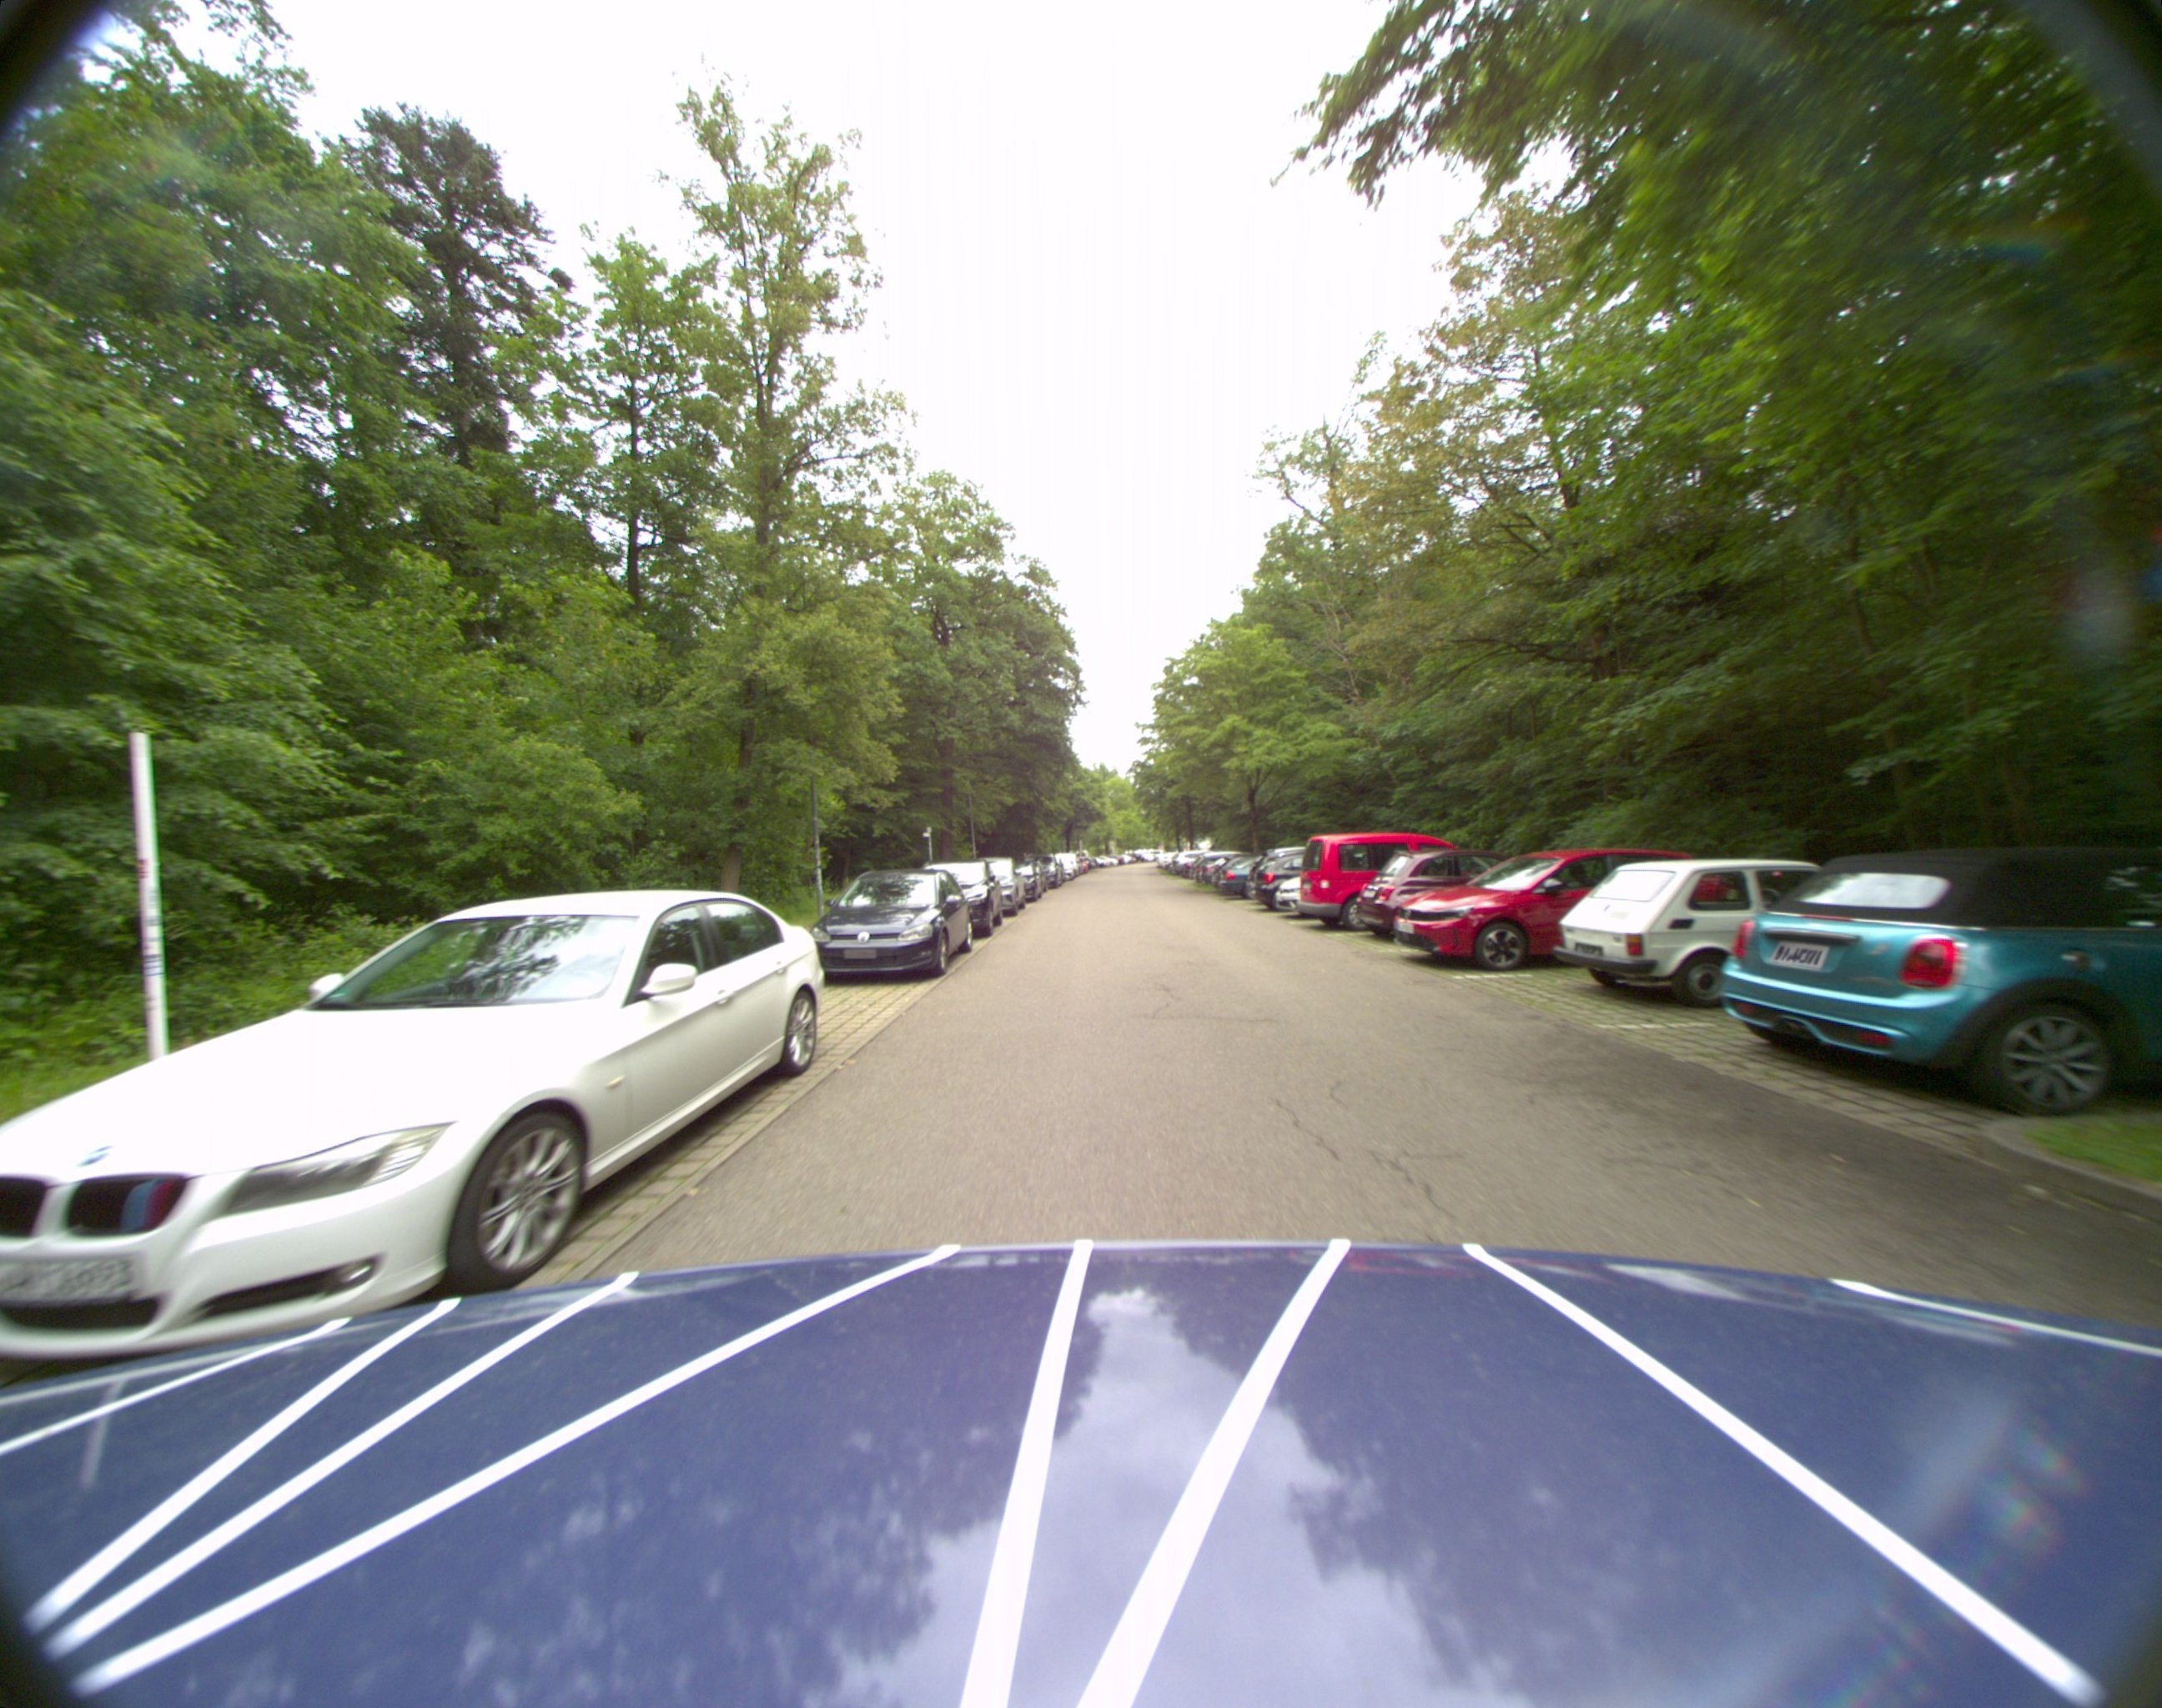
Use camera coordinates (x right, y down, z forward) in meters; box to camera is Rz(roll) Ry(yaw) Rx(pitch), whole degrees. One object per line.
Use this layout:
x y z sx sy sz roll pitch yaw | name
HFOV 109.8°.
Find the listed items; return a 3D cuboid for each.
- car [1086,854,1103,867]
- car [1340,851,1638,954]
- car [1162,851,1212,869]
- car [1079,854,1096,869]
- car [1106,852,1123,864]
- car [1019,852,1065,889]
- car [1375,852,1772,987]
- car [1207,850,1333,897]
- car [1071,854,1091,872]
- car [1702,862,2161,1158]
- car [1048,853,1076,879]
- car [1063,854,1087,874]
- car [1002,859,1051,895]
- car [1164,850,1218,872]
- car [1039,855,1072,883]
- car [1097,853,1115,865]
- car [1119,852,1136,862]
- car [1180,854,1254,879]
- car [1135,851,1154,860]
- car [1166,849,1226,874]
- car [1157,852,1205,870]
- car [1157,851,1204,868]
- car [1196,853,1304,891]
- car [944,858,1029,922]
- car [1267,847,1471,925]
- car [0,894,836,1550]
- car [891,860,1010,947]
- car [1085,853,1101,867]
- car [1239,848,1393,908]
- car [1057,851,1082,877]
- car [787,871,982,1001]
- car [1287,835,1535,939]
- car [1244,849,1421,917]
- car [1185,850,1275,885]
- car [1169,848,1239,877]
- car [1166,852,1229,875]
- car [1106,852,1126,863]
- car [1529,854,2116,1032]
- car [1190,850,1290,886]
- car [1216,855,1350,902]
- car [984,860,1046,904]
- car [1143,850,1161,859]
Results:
1.597 0.747 88.409 1.501 1.470 3.668 -2 0 8 | car
6.679 0.763 12.782 3.996 1.507 1.818 -2 0 1 | car
9.006 0.526 65.013 3.998 1.469 1.713 -1 0 -2 | car
0.680 0.736 77.819 1.502 1.470 3.667 -2 0 4 | car
4.356 0.504 99.012 1.501 1.470 3.669 -2 1 13 | car
-1.924 0.809 38.910 1.909 1.713 4.486 -2 0 1 | car
6.191 0.777 9.914 3.996 1.507 1.771 -2 0 1 | car
6.723 0.680 27.278 3.997 1.433 1.741 -3 1 -1 | car
0.004 0.752 66.230 1.502 1.470 3.666 -2 0 3 | car
6.514 0.799 4.623 3.996 1.440 1.696 -1 0 4 | car
-1.213 0.761 50.321 1.580 1.610 3.962 -2 0 1 | car
-0.438 0.798 62.043 1.642 1.561 3.666 -2 0 3 | car
-2.367 0.992 34.119 1.750 1.418 4.189 -2 0 1 | car
8.654 0.525 59.880 3.998 1.661 1.713 -1 0 -2 | car
-1.466 0.868 45.187 1.705 1.529 3.962 -2 0 1 | car
3.149 0.617 94.591 1.501 1.331 3.436 -2 0 13 | car
6.906 0.472 112.456 1.771 1.308 3.893 -2 1 14 | car
7.982 0.725 44.744 3.998 1.363 1.713 -1 0 -4 | car
10.366 0.211 123.062 1.769 1.308 3.896 -2 0 25 | car
8.268 0.532 54.963 3.998 1.699 1.713 -1 0 -2 | car
8.839 0.586 67.294 3.998 1.469 1.713 -1 0 -2 | car
9.028 0.530 69.211 3.998 1.469 1.713 -1 0 -2 | car
7.110 0.734 32.287 4.220 1.447 1.818 -2 0 5 | car
-2.649 0.963 22.316 1.907 1.577 4.481 -2 0 0 | car
6.479 0.703 17.439 3.996 1.588 1.742 -2 0 3 | car
-2.935 1.073 4.131 1.741 1.398 4.427 -2 0 0 | car
-2.720 0.965 16.816 1.843 1.551 4.423 -2 0 0 | car
1.350 0.631 83.459 1.502 1.470 3.667 -2 0 4 | car
6.823 0.682 22.357 3.997 1.588 1.741 -2 0 1 | car
-0.845 0.708 56.527 1.642 1.742 4.054 -2 0 1 | car
-2.722 1.058 11.697 1.741 1.426 4.745 -2 0 0 | car
6.272 0.602 14.771 3.997 1.804 1.818 -2 0 1 | car
6.413 0.726 19.705 3.996 1.588 1.742 -2 0 3 | car
7.271 0.648 37.273 3.998 1.508 1.713 -3 1 -4 | car
7.639 0.536 47.336 3.998 1.717 1.713 -1 0 -2 | car
7.975 0.657 52.301 3.998 1.480 1.713 -1 0 -2 | car
4.817 0.424 103.850 1.770 1.308 3.894 -2 1 16 | car
6.945 0.779 7.483 3.996 1.440 1.771 -2 0 1 | car
7.234 0.642 34.838 4.221 1.528 1.818 -1 0 1 | car
6.546 0.782 24.951 3.996 1.413 1.742 -2 0 4 | car
-2.374 0.976 28.145 1.824 1.433 4.000 -2 0 1 | car
11.954 0.081 128.183 1.769 1.308 3.896 -2 0 25 | car
